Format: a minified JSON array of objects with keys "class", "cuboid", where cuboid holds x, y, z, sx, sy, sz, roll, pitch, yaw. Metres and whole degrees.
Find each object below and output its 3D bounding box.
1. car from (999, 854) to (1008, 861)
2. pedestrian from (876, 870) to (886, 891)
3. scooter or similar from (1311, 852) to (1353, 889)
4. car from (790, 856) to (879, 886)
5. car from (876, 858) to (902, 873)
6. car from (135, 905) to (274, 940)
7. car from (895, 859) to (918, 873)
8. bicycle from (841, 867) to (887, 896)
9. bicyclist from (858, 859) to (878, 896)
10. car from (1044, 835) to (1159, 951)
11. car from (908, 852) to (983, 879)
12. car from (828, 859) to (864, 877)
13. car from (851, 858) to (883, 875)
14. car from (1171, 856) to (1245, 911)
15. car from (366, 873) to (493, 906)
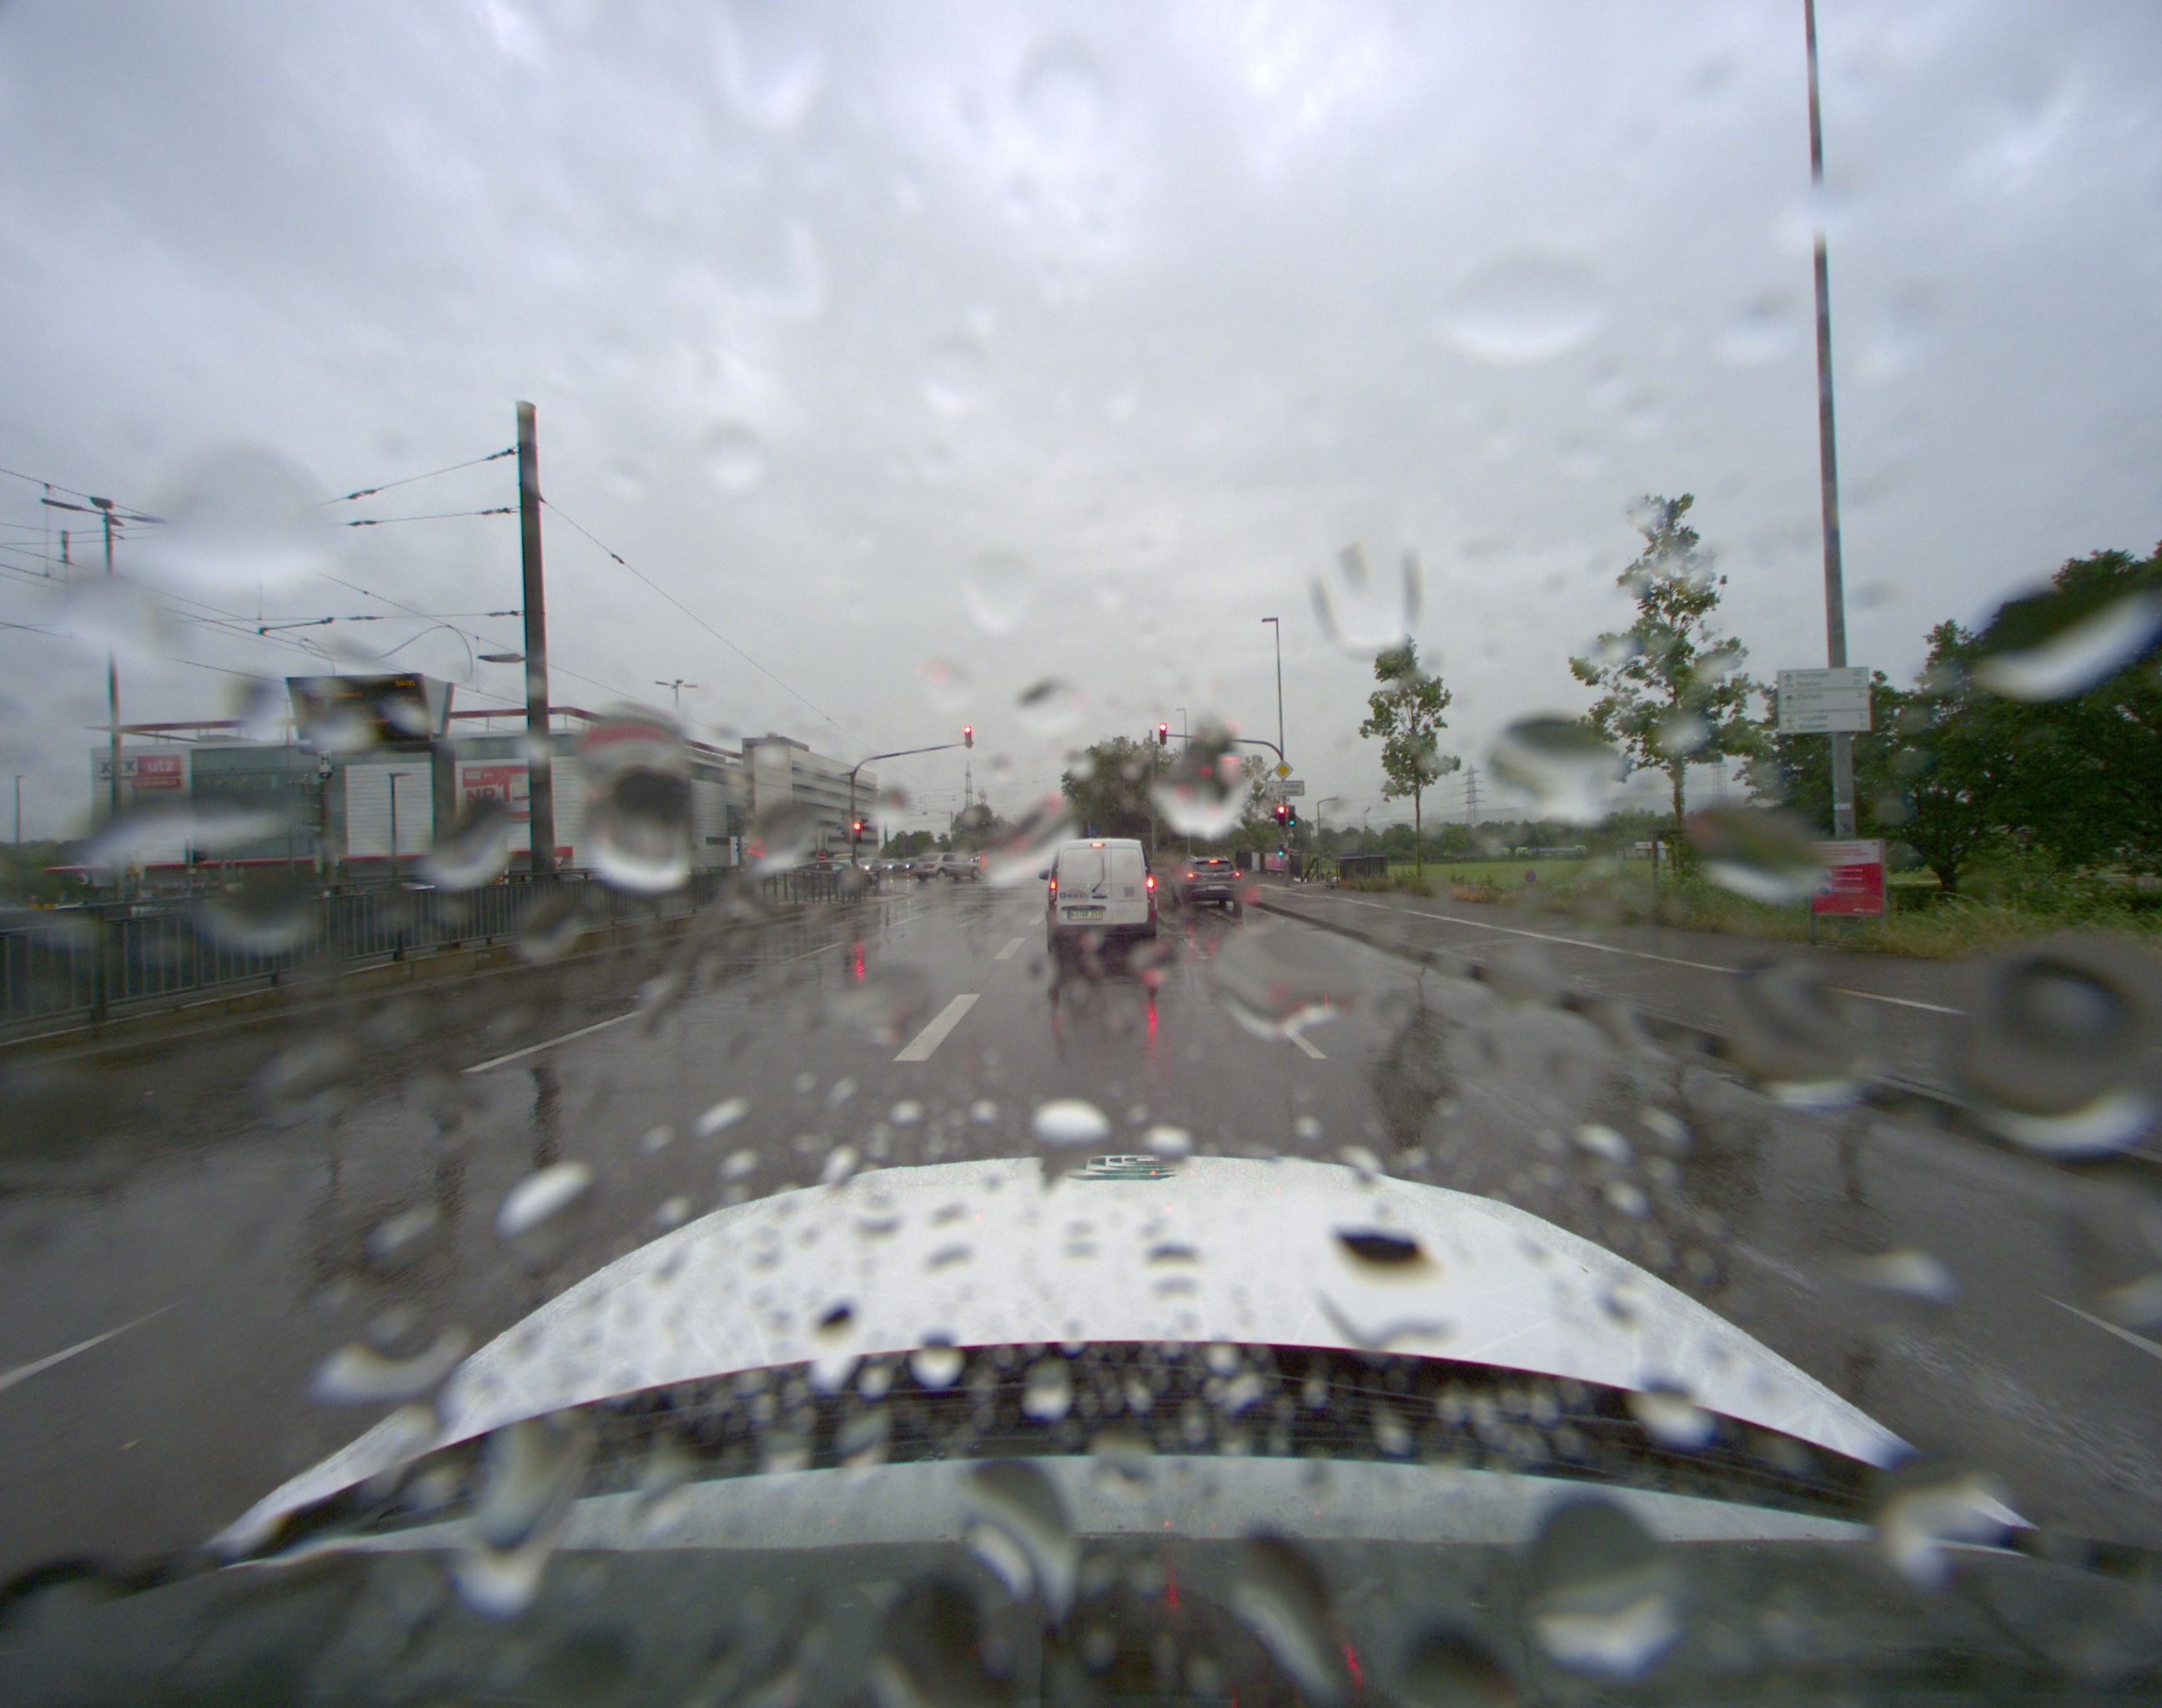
[{"class":"car","cuboid":[-16.223,0.810,170.946,1.554,1.426,3.569,1,-1,2]},{"class":"pedestrian","cuboid":[-8.553,1.126,34.771,0.314,0.897,0.380,0,0,-1]},{"class":"scooter or similar","cuboid":[8.797,0.538,28.672,0.687,1.211,3.022,-2,0,3]},{"class":"car","cuboid":[-12.494,0.870,41.389,4.197,1.451,1.706,1,-2,-18]},{"class":"car","cuboid":[-18.795,1.146,79.844,1.554,1.426,3.569,1,-1,2]},{"class":"car","cuboid":[-41.497,3.227,38.655,4.485,1.502,1.712,1,-1,-3]},{"class":"car","cuboid":[-18.625,1.267,86.924,1.554,1.426,3.569,1,-1,2]},{"class":"bicycle","cuboid":[-8.688,1.090,32.640,1.768,1.137,0.514,0,-1,-41]},{"class":"bicyclist","cuboid":[-8.552,0.933,32.724,0.608,1.491,0.593,0,-1,-39]},{"class":"car","cuboid":[0.259,0.580,14.515,1.749,1.750,4.166,-1,0,-2]},{"class":"car","cuboid":[-8.596,0.758,51.985,1.929,1.662,4.490,-1,-2,44]},{"class":"car","cuboid":[-19.172,1.124,66.702,1.704,1.426,3.810,1,-1,2]},{"class":"car","cuboid":[-19.078,1.111,72.610,1.704,1.426,3.810,1,-1,2]},{"class":"car","cuboid":[3.733,0.828,24.491,1.678,1.508,3.921,0,0,1]},{"class":"car","cuboid":[-30.626,1.666,38.390,4.258,1.502,1.815,1,-1,-9]}]
